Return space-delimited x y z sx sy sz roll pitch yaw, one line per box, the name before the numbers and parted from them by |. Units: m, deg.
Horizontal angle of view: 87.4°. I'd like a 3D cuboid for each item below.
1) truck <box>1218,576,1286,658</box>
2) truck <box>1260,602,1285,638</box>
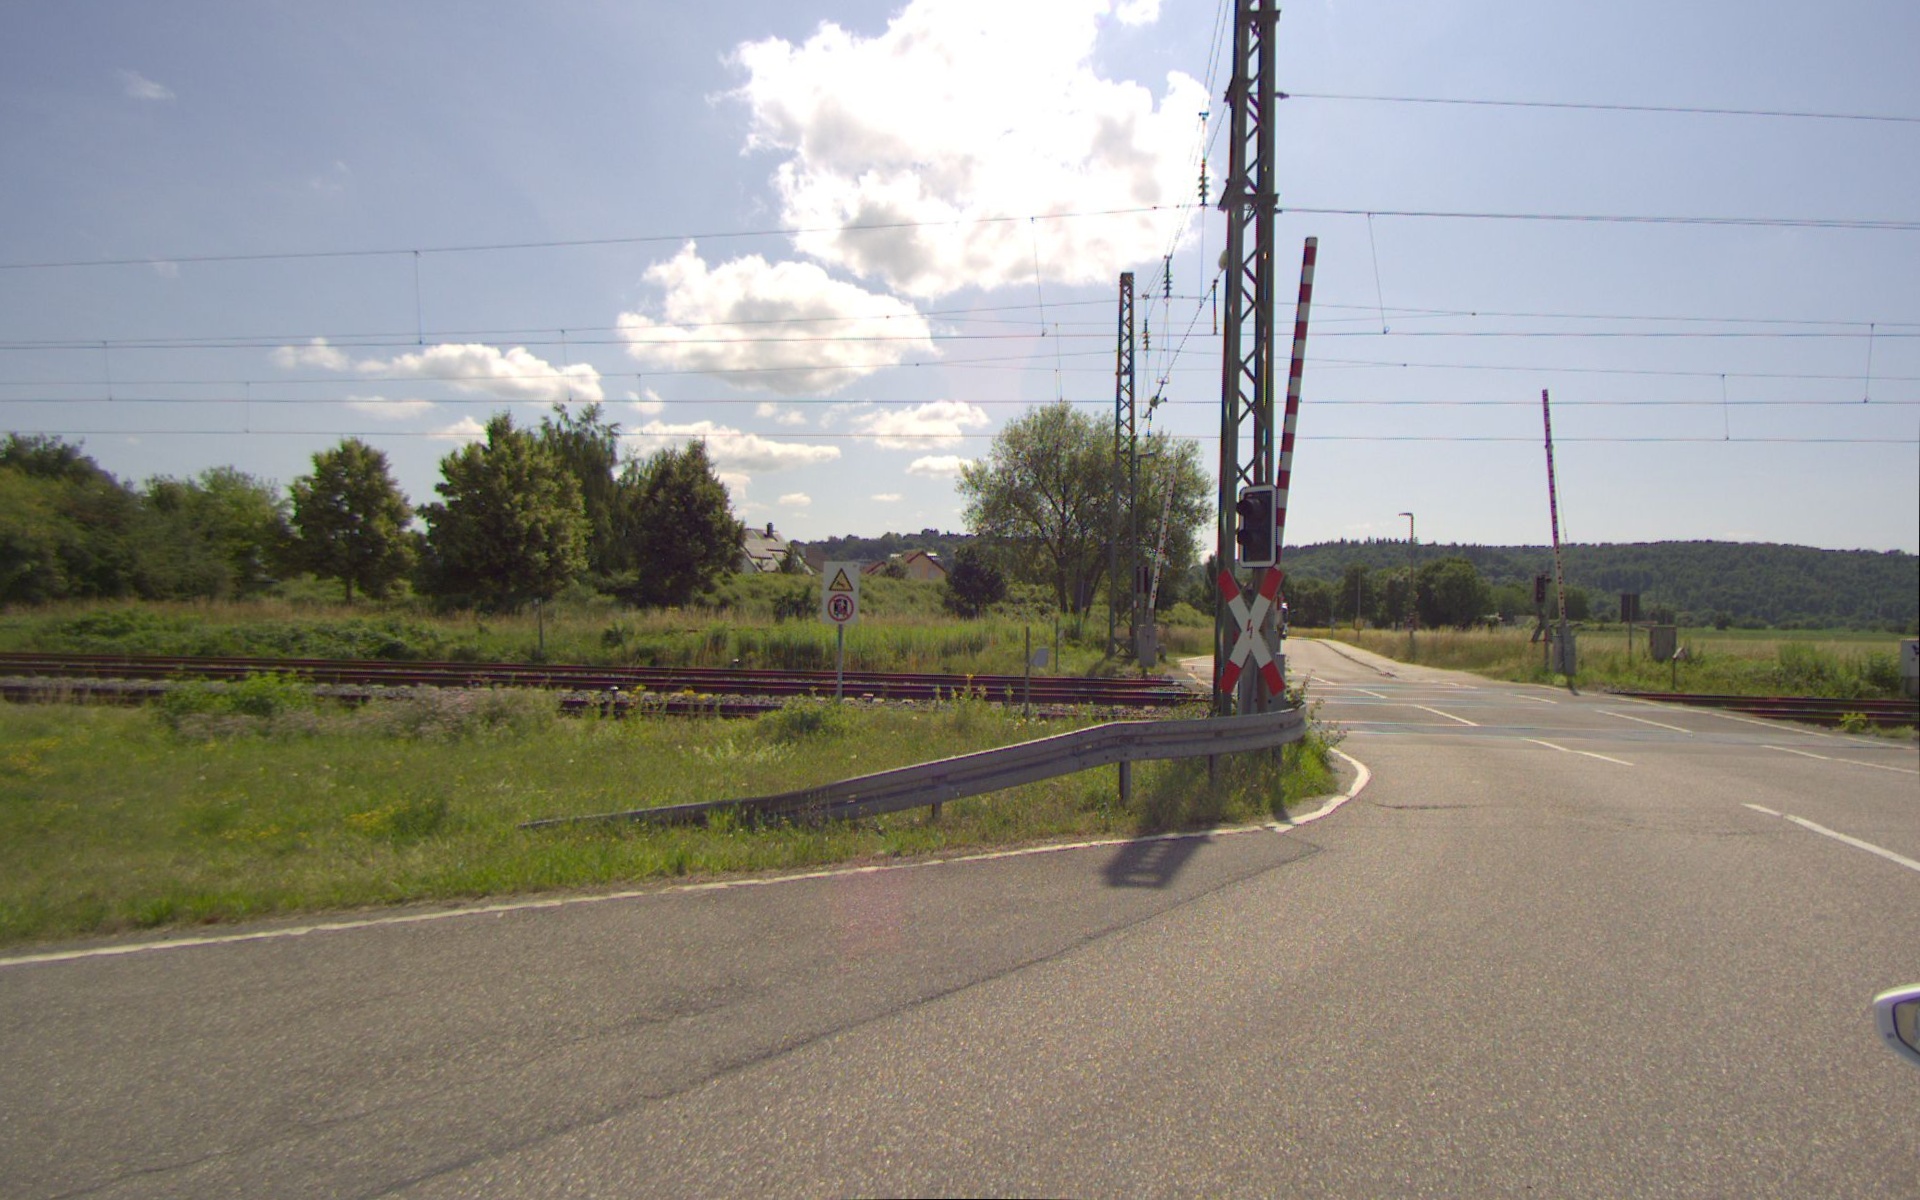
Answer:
truck | 15.810 0.937 53.691 2.824 3.795 12.151 1 -1 19
truck | 35.291 2.248 113.213 2.528 4.001 6.040 1 -1 19
